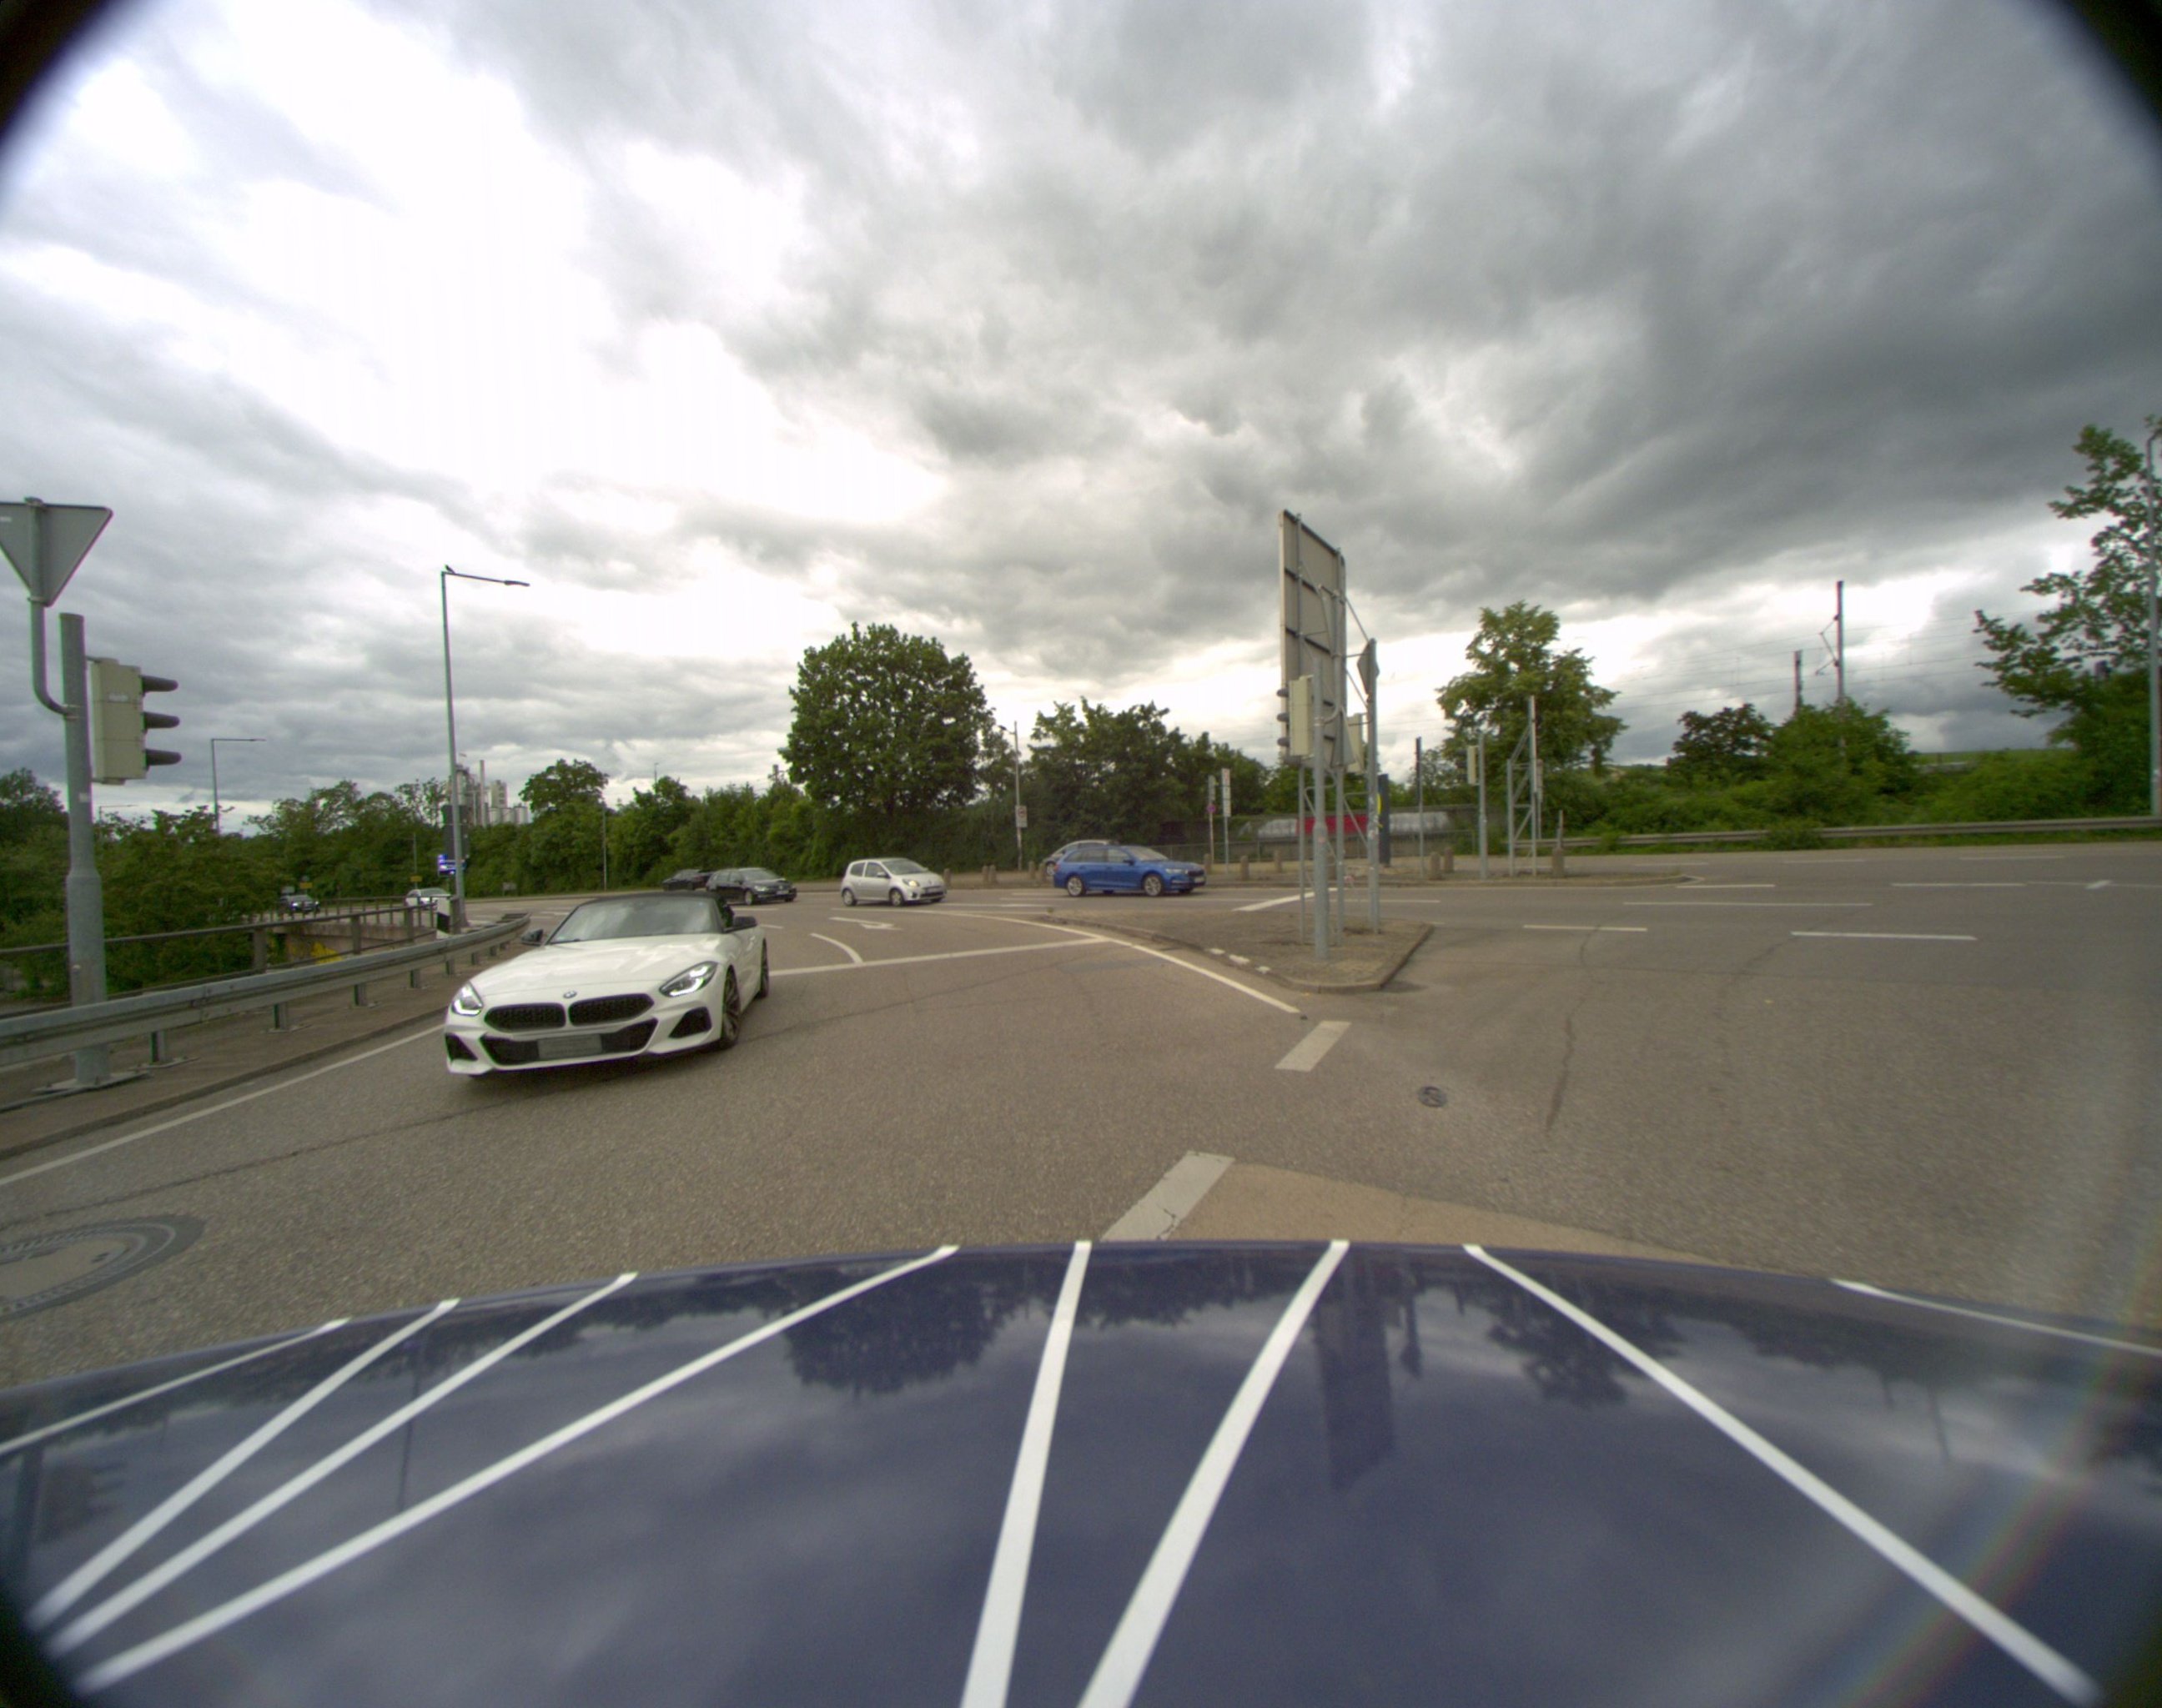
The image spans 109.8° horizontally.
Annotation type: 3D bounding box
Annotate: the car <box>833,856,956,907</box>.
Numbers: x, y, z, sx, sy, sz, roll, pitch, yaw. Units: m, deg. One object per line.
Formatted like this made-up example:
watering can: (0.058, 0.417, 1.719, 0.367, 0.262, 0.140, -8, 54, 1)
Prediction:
car: (-5.827, 0.869, 23.557, 3.739, 1.366, 1.631, -3, 1, 38)

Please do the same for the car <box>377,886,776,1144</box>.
car: (-4.244, 1.138, 7.425, 1.865, 1.337, 4.817, -4, 1, -17)

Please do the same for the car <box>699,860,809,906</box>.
car: (-12.763, 1.153, 29.600, 4.283, 1.547, 1.951, -3, 1, 36)

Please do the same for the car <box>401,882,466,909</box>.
car: (-43.033, 2.743, 50.451, 4.703, 1.552, 1.881, -3, 1, 33)

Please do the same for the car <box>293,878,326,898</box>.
car: (-83.855, 3.727, 82.583, 3.590, 2.002, 1.653, -2, 1, 31)

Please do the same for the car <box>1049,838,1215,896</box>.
car: (1.372, 0.401, 21.614, 4.530, 1.446, 1.613, -2, 2, 39)

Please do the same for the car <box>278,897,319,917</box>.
car: (-67.003, 4.516, 65.077, 3.641, 1.552, 1.653, -3, 1, 33)

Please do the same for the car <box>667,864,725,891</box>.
car: (-25.391, 1.545, 50.106, 3.834, 1.552, 1.653, -3, 1, 34)

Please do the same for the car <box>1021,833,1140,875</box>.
car: (-0.064, 0.027, 37.366, 5.478, 1.746, 2.138, -3, 1, 34)
